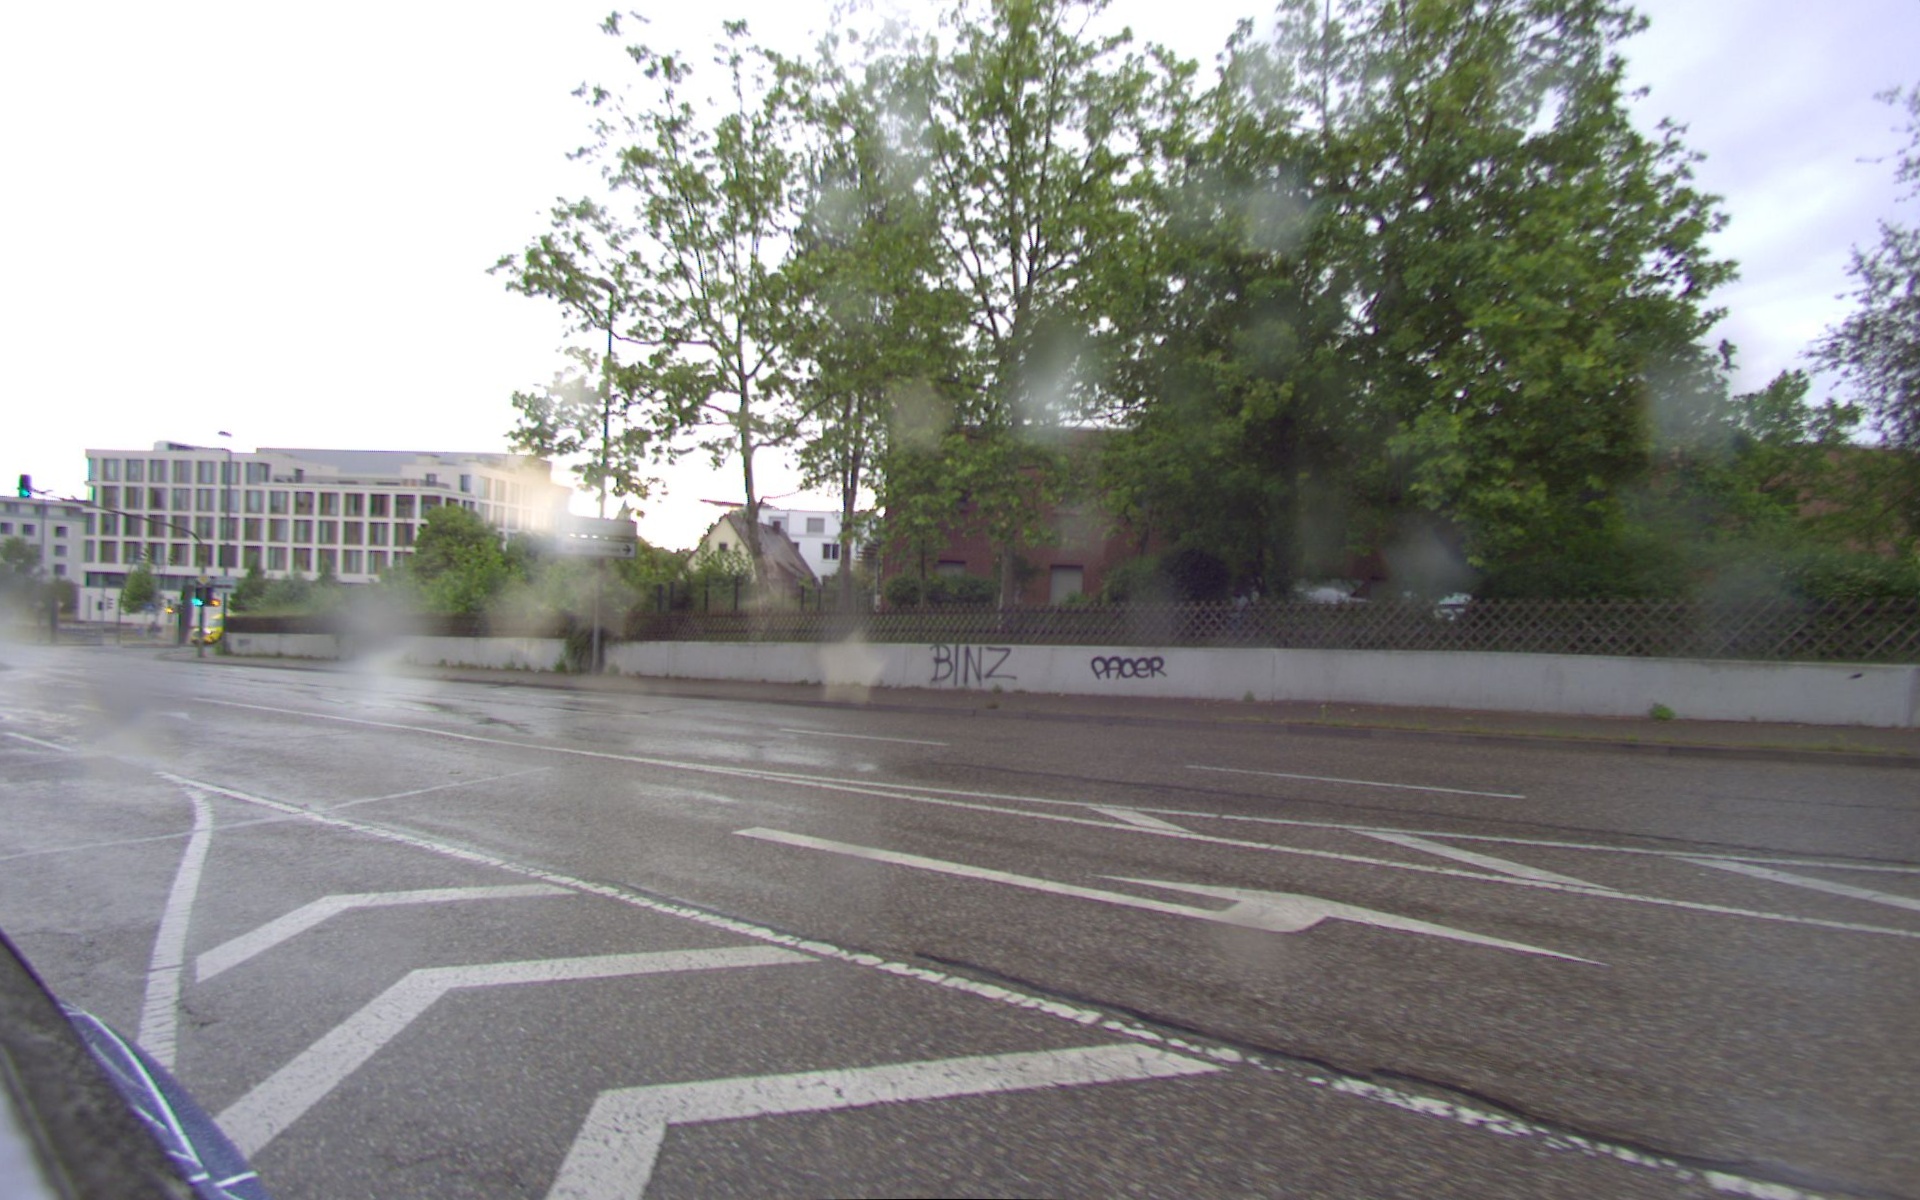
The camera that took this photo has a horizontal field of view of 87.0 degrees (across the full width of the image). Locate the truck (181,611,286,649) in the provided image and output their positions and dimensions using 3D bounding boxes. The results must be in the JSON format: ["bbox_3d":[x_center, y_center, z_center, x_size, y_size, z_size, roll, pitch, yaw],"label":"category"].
[{"bbox_3d":[-52.056,2.215,72.721,2.206,2.557,6.149,1,-3,13],"label":"truck"}]
